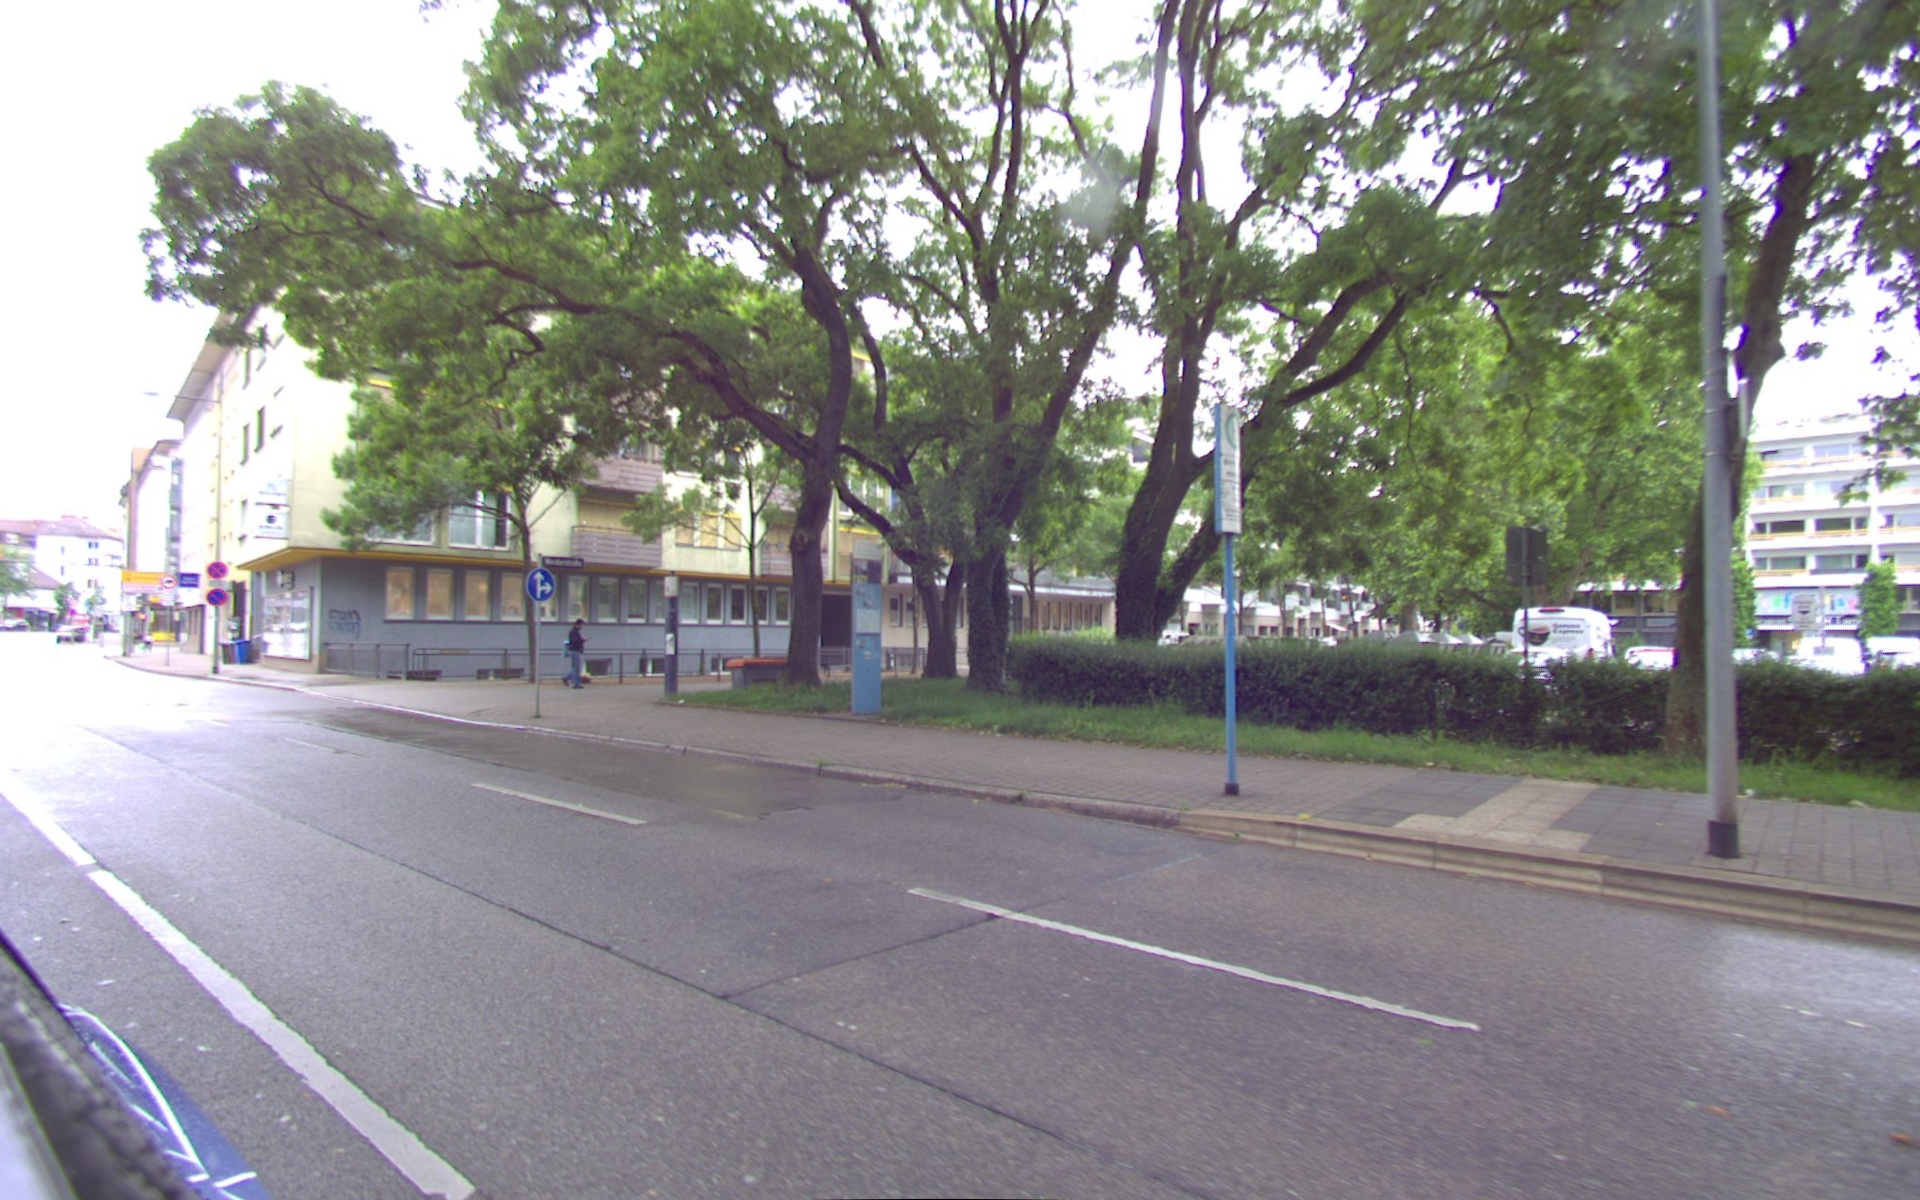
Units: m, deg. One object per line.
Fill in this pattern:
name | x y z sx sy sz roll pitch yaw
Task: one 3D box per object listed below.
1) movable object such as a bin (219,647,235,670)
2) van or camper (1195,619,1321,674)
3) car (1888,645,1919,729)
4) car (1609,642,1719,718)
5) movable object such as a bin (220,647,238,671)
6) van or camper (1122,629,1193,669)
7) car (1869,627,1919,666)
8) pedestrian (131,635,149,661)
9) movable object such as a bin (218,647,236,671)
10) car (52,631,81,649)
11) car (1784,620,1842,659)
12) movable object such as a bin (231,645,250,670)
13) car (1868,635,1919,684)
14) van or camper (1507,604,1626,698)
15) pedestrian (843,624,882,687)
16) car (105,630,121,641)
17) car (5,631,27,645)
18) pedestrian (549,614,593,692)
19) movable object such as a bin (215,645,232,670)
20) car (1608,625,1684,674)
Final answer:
movable object such as a bin | -30.655 2.453 42.314 0.458 0.935 0.429 -3 0 -42
van or camper | 14.592 2.219 49.038 2.561 2.420 8.535 -2 -3 41
car | 20.942 1.794 21.227 1.895 1.497 3.948 -1 0 39
car | 17.165 1.864 24.619 1.895 1.497 3.948 -1 0 39
movable object such as a bin | -29.959 2.411 41.487 0.522 0.902 0.435 -3 0 -42
van or camper | 10.824 2.686 55.223 1.825 2.029 4.576 1 -2 38
car | 40.750 1.963 43.783 1.895 1.497 3.948 -1 0 39
pedestrian | -52.905 3.087 65.309 0.773 1.600 0.675 -1 -1 -29
movable object such as a bin | -30.327 2.439 41.889 0.521 0.935 0.426 -3 0 -42
car | -81.808 3.675 92.728 1.807 1.634 4.007 2 -3 -39
car | 42.317 1.930 50.306 2.097 1.735 3.948 -1 0 39
movable object such as a bin | -29.382 2.343 41.326 0.522 0.968 0.435 -3 0 -42
car | 33.785 2.099 36.085 1.895 1.497 3.948 -1 0 39
van or camper | 17.334 1.423 28.829 2.099 2.450 4.280 -2 -3 42
pedestrian | -3.083 1.723 31.853 0.906 1.939 0.820 2 -3 -43
car | -126.603 5.311 151.226 1.567 1.539 3.496 2 -3 -36
car | -125.771 5.087 134.894 1.724 1.778 4.061 3 -4 -38
pedestrian | -10.207 1.381 26.597 0.774 2.029 0.750 0 -2 11
movable object such as a bin | -31.270 2.435 42.971 0.510 1.008 0.524 -3 0 -42
car | 24.487 1.719 36.061 1.895 1.497 3.948 -1 0 39
